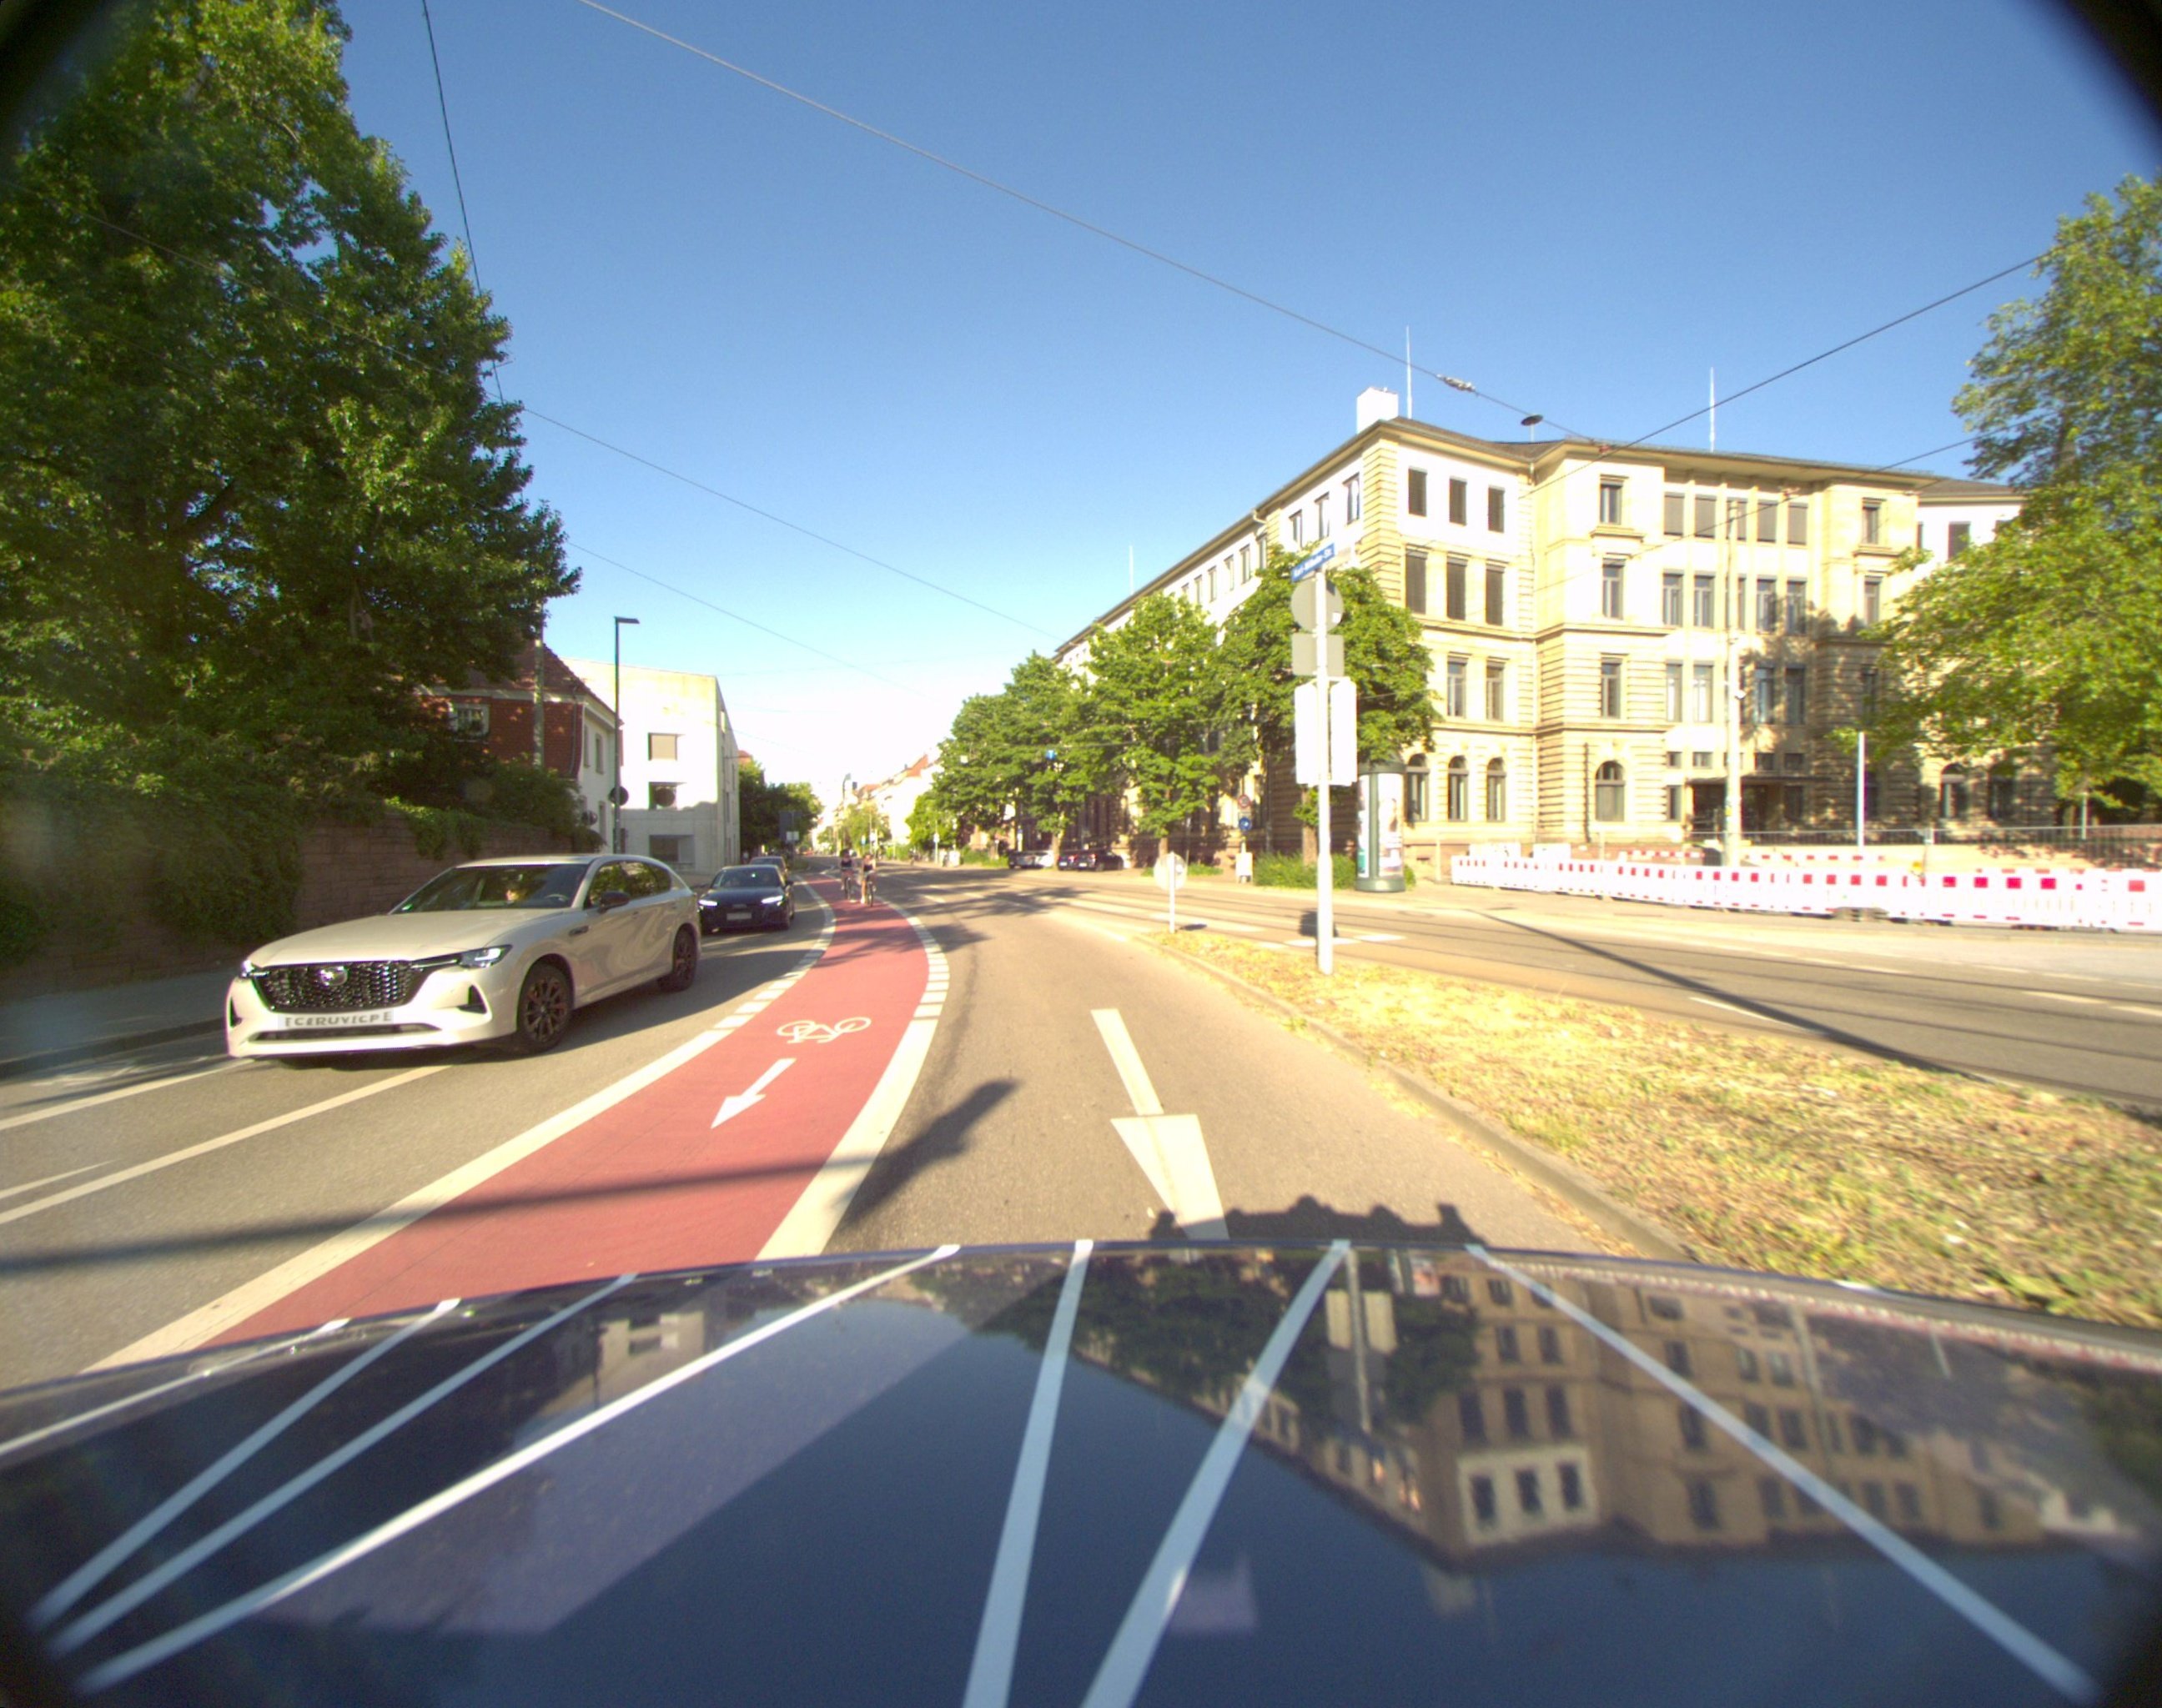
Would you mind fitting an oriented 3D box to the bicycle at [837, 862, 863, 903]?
[{"bbox_3d":[-7.695,0.907,25.225,0.677,1.243,2.452,-1,1,-20],"label":"bicycle"}]

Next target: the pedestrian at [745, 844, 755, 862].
[{"bbox_3d":[-29.547,-0.088,67.864,0.676,1.638,0.816,-2,1,-20],"label":"pedestrian"}]

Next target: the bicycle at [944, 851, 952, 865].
[{"bbox_3d":[-12.689,0.350,72.239,0.676,1.243,2.454,-1,1,-11],"label":"bicycle"}]

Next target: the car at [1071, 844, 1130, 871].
[{"bbox_3d":[1.357,0.216,51.038,1.841,1.621,4.189,-1,2,36],"label":"car"}]

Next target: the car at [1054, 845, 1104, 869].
[{"bbox_3d":[-0.118,0.201,53.450,1.645,1.552,3.656,-1,2,36],"label":"car"}]

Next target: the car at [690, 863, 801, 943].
[{"bbox_3d":[-7.451,1.003,17.232,1.790,1.425,3.993,-3,1,-17],"label":"car"}]

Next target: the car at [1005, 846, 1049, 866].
[{"bbox_3d":[-4.521,0.171,64.133,1.645,1.552,3.656,-1,2,36],"label":"car"}]

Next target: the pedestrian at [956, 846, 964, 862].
[{"bbox_3d":[-12.513,0.031,78.484,0.676,1.638,0.816,-2,1,-20],"label":"pedestrian"}]

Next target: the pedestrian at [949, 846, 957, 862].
[{"bbox_3d":[-13.173,0.022,78.209,0.676,1.638,0.816,-2,1,-20],"label":"pedestrian"}]

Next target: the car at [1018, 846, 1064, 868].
[{"bbox_3d":[-3.179,0.199,60.928,1.645,1.552,3.656,-1,2,36],"label":"car"}]

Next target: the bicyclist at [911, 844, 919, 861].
[{"bbox_3d":[-16.600,-0.157,75.883,0.676,1.638,1.027,-1,1,-20],"label":"bicyclist"}]

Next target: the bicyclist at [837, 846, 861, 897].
[{"bbox_3d":[-7.701,0.564,25.224,0.676,1.638,1.027,-1,1,-20],"label":"bicyclist"}]

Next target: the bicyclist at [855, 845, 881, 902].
[{"bbox_3d":[-6.355,0.555,22.643,0.676,1.638,1.027,-1,1,-20],"label":"bicyclist"}]

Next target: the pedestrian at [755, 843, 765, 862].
[{"bbox_3d":[-28.808,-0.121,68.198,0.676,1.638,0.816,-2,1,-20],"label":"pedestrian"}]

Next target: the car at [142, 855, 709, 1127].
[{"bbox_3d":[-5.559,0.928,7.482,1.946,1.683,4.527,-3,1,-7],"label":"car"}]

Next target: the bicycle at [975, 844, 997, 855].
[{"bbox_3d":[-11.007,-0.498,87.811,2.460,1.243,0.675,-1,1,-26],"label":"bicycle"}]

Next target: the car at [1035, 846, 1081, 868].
[{"bbox_3d":[-1.775,0.196,58.940,1.645,1.552,3.656,-1,2,36],"label":"car"}]

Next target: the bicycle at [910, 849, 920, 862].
[{"bbox_3d":[-16.599,0.169,75.878,0.677,1.243,2.452,-1,1,-20],"label":"bicycle"}]

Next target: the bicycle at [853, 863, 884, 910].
[{"bbox_3d":[-6.347,0.931,22.631,0.677,1.243,2.452,-1,1,-20],"label":"bicycle"}]

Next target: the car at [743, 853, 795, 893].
[{"bbox_3d":[-13.484,0.758,33.009,1.651,1.552,3.644,-3,1,-17],"label":"car"}]

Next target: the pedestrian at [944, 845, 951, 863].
[{"bbox_3d":[-12.696,0.016,72.253,0.676,1.638,0.816,-1,1,-11],"label":"pedestrian"}]
